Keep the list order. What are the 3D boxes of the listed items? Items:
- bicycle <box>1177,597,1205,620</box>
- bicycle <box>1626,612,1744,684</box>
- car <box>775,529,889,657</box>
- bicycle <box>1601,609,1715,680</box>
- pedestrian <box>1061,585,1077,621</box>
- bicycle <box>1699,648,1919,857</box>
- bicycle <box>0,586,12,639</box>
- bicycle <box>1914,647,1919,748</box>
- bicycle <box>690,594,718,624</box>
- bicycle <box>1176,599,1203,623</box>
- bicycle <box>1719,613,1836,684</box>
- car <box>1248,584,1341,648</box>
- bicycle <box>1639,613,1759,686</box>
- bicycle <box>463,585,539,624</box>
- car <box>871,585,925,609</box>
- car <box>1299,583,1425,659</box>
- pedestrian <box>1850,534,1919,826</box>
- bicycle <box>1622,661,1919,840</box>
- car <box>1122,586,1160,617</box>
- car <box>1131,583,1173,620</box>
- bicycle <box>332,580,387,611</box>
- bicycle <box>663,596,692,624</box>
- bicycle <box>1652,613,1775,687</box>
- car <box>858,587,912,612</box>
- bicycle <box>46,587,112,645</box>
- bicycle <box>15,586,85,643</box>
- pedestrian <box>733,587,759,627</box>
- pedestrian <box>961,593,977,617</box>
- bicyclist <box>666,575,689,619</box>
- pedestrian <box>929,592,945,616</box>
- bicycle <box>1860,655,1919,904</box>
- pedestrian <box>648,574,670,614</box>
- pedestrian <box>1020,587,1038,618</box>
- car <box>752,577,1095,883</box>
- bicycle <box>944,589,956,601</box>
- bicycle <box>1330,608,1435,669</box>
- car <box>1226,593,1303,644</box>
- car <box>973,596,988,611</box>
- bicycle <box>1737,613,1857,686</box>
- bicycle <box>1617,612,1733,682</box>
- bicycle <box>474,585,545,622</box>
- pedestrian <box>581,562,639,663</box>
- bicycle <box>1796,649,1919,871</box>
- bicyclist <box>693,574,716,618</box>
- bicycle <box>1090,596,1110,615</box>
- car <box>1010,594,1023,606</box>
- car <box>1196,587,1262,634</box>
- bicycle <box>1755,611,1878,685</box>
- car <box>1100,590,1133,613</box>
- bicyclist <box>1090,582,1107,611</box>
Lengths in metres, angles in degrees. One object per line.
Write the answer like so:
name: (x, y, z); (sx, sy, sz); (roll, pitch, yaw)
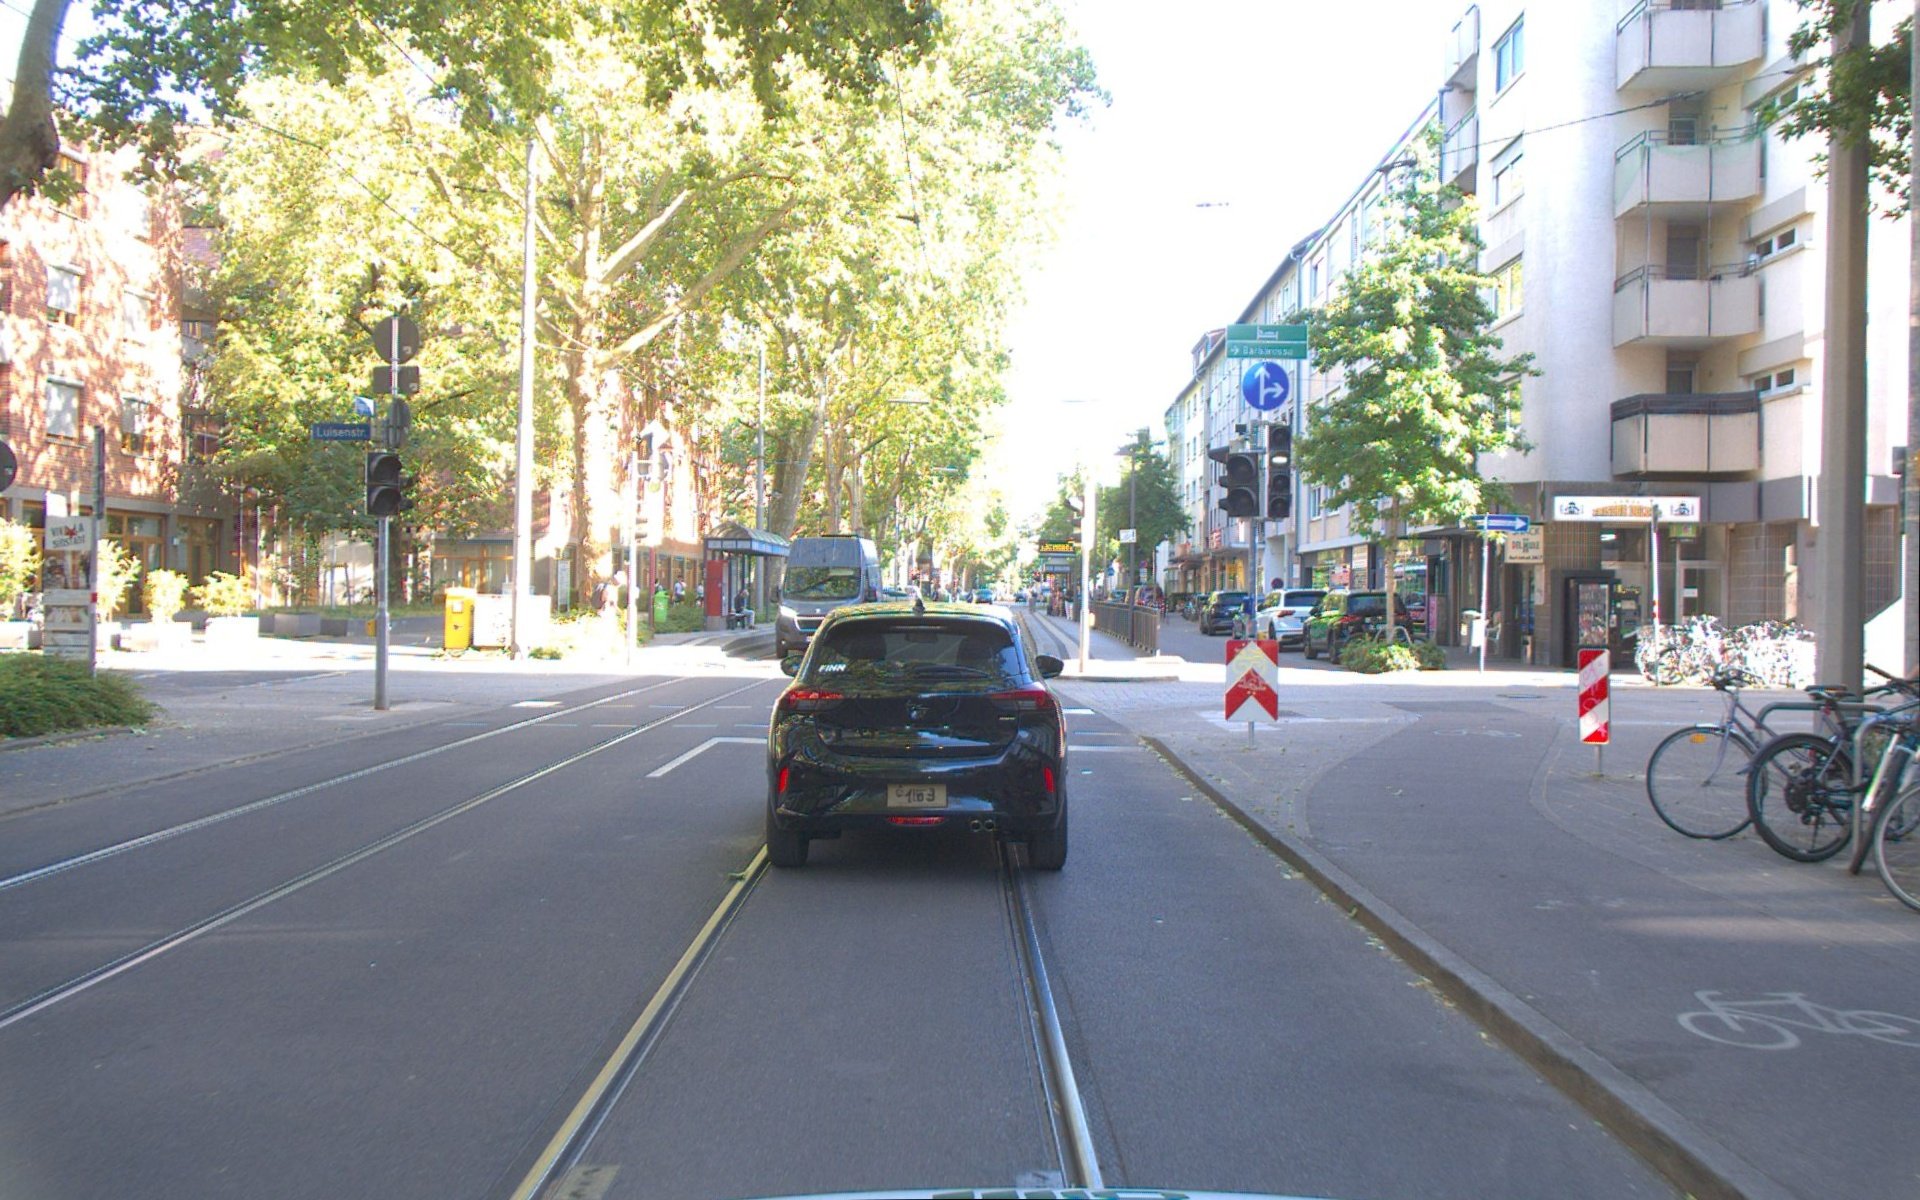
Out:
bicycle: (12.093, 0.434, 86.555); (0.600, 1.156, 2.915); (2, 0, -9)
bicycle: (12.800, 0.849, 29.222); (1.875, 1.229, 0.511); (1, 0, -2)
car: (-2.917, -0.130, 39.088); (2.070, 2.786, 6.116); (0, 0, 2)
bicycle: (12.786, 0.806, 30.312); (1.875, 1.229, 0.511); (2, -1, -2)
pedestrian: (4.983, 0.141, 75.449); (0.618, 1.603, 0.871); (3, 0, 2)
bicycle: (5.189, 0.863, 9.406); (1.780, 1.119, 0.497); (2, -1, -7)
bicycle: (-20.585, 0.277, 34.623); (0.530, 1.103, 1.639); (2, 2, 0)
bicycle: (9.625, 0.951, 15.173); (0.663, 0.980, 2.023); (2, 0, 4)
bicycle: (-10.805, 0.393, 69.843); (0.766, 1.212, 2.595); (2, 0, -1)
bicycle: (11.296, 0.538, 81.412); (0.610, 1.156, 2.434); (2, 0, -9)
bicycle: (14.867, 0.879, 30.081); (1.875, 1.229, 0.511); (2, -1, -2)
car: (9.120, 0.425, 45.420); (1.762, 1.634, 4.416); (2, 0, 2)
bicycle: (12.808, 0.849, 28.687); (1.875, 1.228, 0.511); (0, 1, -2)
bicycle: (-16.066, 0.150, 57.860); (2.407, 1.240, 0.682); (3, 0, 2)
car: (-5.146, -0.228, 137.452); (4.300, 1.884, 1.998); (2, 0, -6)
car: (9.188, 0.470, 38.149); (1.952, 1.644, 4.446); (0, 0, 2)
pedestrian: (6.319, 0.503, 10.302); (0.864, 1.789, 1.039); (2, -1, -26)
bicycle: (5.054, 0.913, 10.145); (1.778, 1.011, 0.481); (2, -1, -1)
car: (11.192, 0.077, 102.459); (1.952, 1.829, 4.000); (2, 0, 1)
car: (11.099, 0.095, 95.691); (1.952, 1.986, 4.000); (2, 0, 1)
bicycle: (-23.069, -0.174, 63.565); (1.907, 1.092, 0.762); (2, -1, -15)
bicycle: (-11.884, 0.417, 69.631); (0.766, 1.130, 2.595); (2, 0, -1)
bicycle: (12.823, 0.842, 28.155); (1.875, 1.228, 0.511); (0, 1, -2)
car: (-5.724, -0.045, 125.773); (4.034, 1.730, 1.881); (2, 0, -6)
bicycle: (-18.317, 0.323, 34.428); (0.530, 1.103, 1.537); (2, 2, 0)
bicycle: (-18.931, 0.292, 34.436); (0.530, 1.103, 1.639); (2, 2, 0)
pedestrian: (-6.414, 0.209, 49.599); (0.691, 1.189, 0.659); (0, 0, -2)
pedestrian: (0.662, 0.382, 128.299); (1.141, 1.779, 0.957); (2, -1, -4)
bicyclist: (-11.881, -0.128, 69.525); (0.759, 1.780, 0.997); (2, -1, -1)
pedestrian: (-1.804, 0.305, 128.539); (1.141, 1.779, 0.957); (2, -1, -4)
bicycle: (5.269, 0.837, 7.783); (1.778, 1.119, 0.525); (1, -1, 0)
pedestrian: (-13.093, -0.239, 71.955); (0.720, 1.701, 0.861); (2, -1, 2)
pedestrian: (3.935, 0.150, 94.407); (0.737, 1.739, 0.760); (1, -1, 36)
car: (-0.194, 0.665, 10.198); (1.724, 1.534, 3.682); (0, 0, 0)
bicycle: (-0.993, -0.507, 171.107); (0.935, 1.262, 2.979); (2, 0, 5)
bicycle: (8.924, 0.816, 35.015); (2.081, 1.208, 0.681); (2, -1, 10)
car: (9.322, 0.554, 50.906); (1.708, 1.465, 4.248); (2, 0, 2)
car: (2.392, 0.403, 191.447); (1.709, 1.571, 4.000); (2, 0, 0)
bicycle: (14.884, 0.871, 29.417); (1.875, 1.229, 0.511); (2, -1, -2)
bicycle: (12.860, 0.839, 29.777); (1.875, 1.229, 0.511); (0, 0, -2)
bicycle: (-15.872, 0.118, 58.298); (2.292, 1.186, 0.682); (2, 0, 2)
pedestrian: (-6.690, 0.225, 31.659); (0.905, 1.867, 0.920); (2, 2, -2)
bicycle: (5.439, 0.853, 8.810); (1.780, 1.119, 0.480); (2, -1, -7)
bicyclist: (-10.795, -0.170, 69.871); (0.766, 1.794, 0.951); (2, -1, -1)
bicycle: (8.703, 0.327, 103.092); (0.844, 1.156, 2.394); (2, 0, -4)
car: (7.690, -0.010, 225.249); (1.709, 1.571, 4.000); (2, 0, 0)
car: (9.924, 0.386, 61.351); (1.818, 1.644, 4.398); (2, 0, 2)
bicycle: (14.908, 0.830, 28.803); (1.875, 1.228, 0.511); (1, 1, -2)
car: (10.838, 0.098, 114.647); (1.952, 1.512, 4.001); (2, 0, 2)
bicyclist: (8.686, -0.221, 103.465); (0.844, 1.790, 1.052); (2, -1, -5)
